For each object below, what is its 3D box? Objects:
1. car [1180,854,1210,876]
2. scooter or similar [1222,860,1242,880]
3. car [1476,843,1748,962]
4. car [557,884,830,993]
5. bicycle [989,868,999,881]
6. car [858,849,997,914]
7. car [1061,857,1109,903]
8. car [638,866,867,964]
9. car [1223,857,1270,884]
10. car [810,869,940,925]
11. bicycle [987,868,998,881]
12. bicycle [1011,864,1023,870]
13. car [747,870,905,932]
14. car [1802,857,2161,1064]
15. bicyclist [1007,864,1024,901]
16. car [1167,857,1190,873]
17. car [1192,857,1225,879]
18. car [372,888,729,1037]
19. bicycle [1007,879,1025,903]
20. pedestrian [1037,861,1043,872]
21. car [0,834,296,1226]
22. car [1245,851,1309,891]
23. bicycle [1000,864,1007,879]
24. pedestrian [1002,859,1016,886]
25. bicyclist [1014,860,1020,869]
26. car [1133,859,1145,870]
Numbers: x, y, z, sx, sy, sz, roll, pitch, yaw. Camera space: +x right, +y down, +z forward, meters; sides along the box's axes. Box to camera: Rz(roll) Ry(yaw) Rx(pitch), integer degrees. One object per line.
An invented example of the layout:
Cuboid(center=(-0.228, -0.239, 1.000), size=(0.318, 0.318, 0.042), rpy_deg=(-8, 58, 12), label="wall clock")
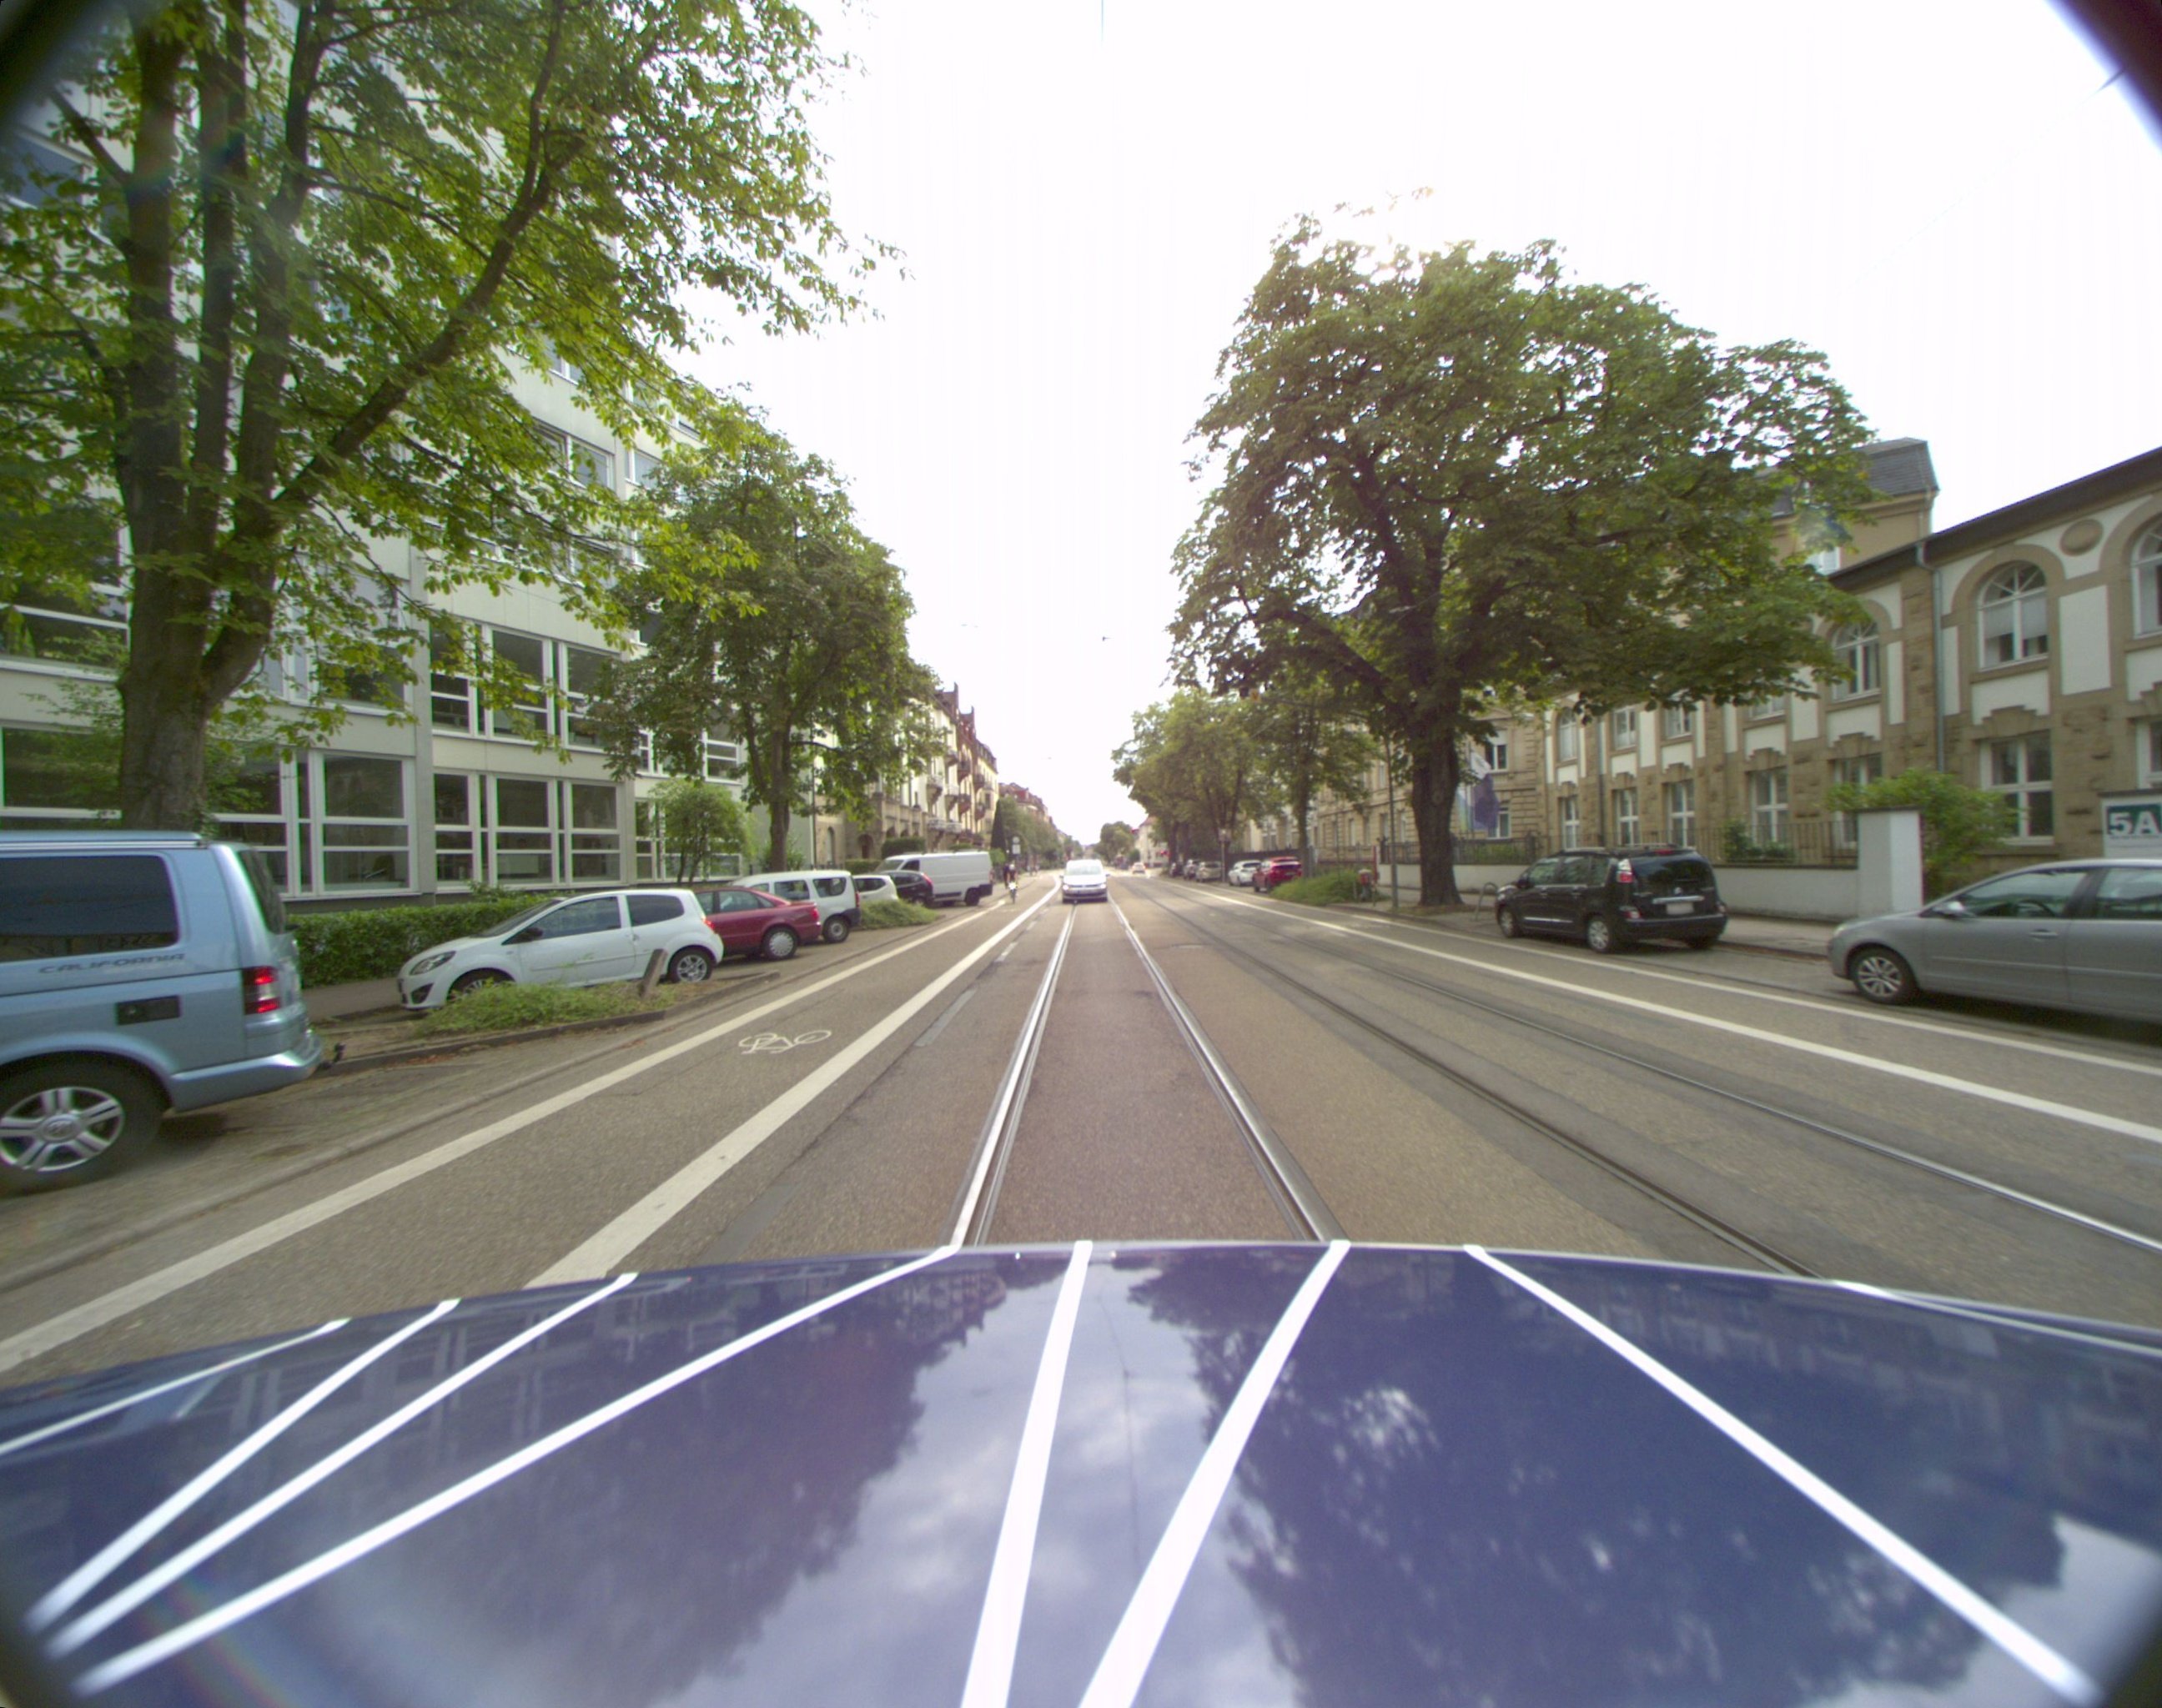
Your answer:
Cuboid(center=(9.322, 0.892, 62.397), size=(1.714, 1.664, 4.357), rpy_deg=(-2, 0, 0), label="car")
Cuboid(center=(9.488, 1.006, 47.675), size=(0.563, 1.215, 1.321), rpy_deg=(-2, 0, -23), label="scooter or similar")
Cuboid(center=(8.731, 0.701, 13.011), size=(1.760, 1.637, 4.052), rpy_deg=(-3, 0, 0), label="car")
Cuboid(center=(-6.786, 1.360, 13.539), size=(3.983, 1.424, 1.685), rpy_deg=(-3, 0, -42), label="car")
Cuboid(center=(-6.396, 1.485, 55.895), size=(0.487, 0.902, 1.665), rpy_deg=(-1, 1, 1), label="bicycle")
Cuboid(center=(-6.173, 1.045, 30.931), size=(4.968, 2.277, 2.378), rpy_deg=(-3, 0, -42), label="car")
Cuboid(center=(0.219, 1.015, 31.492), size=(1.767, 1.660, 4.330), rpy_deg=(-3, 0, 1), label="car")
Cuboid(center=(-6.936, 1.192, 16.331), size=(4.117, 1.658, 1.685), rpy_deg=(-3, 0, -45), label="car")
Cuboid(center=(9.622, 0.919, 44.463), size=(1.726, 1.415, 4.023), rpy_deg=(-4, 0, 0), label="car")
Cuboid(center=(-7.108, 1.436, 26.474), size=(3.968, 1.639, 1.685), rpy_deg=(-3, 0, -44), label="car")
Cuboid(center=(-6.317, 1.468, 54.108), size=(0.487, 0.902, 1.665), rpy_deg=(-1, 1, 4), label="bicycle")
Cuboid(center=(-10.625, 2.134, 126.066), size=(2.194, 1.019, 0.616), rpy_deg=(-2, 0, 38), label="bicycle")
Cuboid(center=(-7.554, 1.339, 22.740), size=(4.100, 1.502, 1.685), rpy_deg=(-3, 0, -44), label="car")
Cuboid(center=(8.661, 0.774, 6.268), size=(1.697, 1.419, 3.868), rpy_deg=(-3, 0, 0), label="car")
Cuboid(center=(-2.817, 1.208, 32.922), size=(0.640, 1.561, 1.110), rpy_deg=(-1, 0, -2), label="bicyclist")
Cuboid(center=(9.479, 1.052, 74.220), size=(1.724, 1.416, 4.166), rpy_deg=(-4, 0, 2), label="car")
Cuboid(center=(9.135, 0.957, 54.722), size=(1.604, 1.459, 4.079), rpy_deg=(-2, 0, 0), label="car")
Cuboid(center=(-7.076, 1.299, 10.370), size=(3.723, 1.424, 1.685), rpy_deg=(-3, 0, -44), label="car")
Cuboid(center=(-2.817, 1.587, 32.996), size=(0.640, 0.975, 2.071), rpy_deg=(-1, 0, -2), label="bicycle")
Cuboid(center=(-6.022, 1.840, 111.545), size=(0.721, 1.650, 0.759), rpy_deg=(2, 0, -3), label="pedestrian")
Cuboid(center=(-7.041, 0.968, 3.750), size=(4.284, 2.003, 1.826), rpy_deg=(-3, 0, -44), label="car")
Cuboid(center=(9.135, 0.742, 35.831), size=(1.726, 1.645, 4.542), rpy_deg=(-4, 0, 0), label="car")
Cuboid(center=(-6.303, 1.418, 61.923), size=(0.392, 1.135, 1.921), rpy_deg=(0, 0, 1), label="bicycle")
Cuboid(center=(-4.667, 1.221, 49.175), size=(0.787, 1.722, 0.896), rpy_deg=(1, 0, 0), label="pedestrian")
Cuboid(center=(-10.657, 1.737, 126.085), size=(0.772, 1.357, 0.616), rpy_deg=(-2, 0, 38), label="bicyclist")
Cuboid(center=(7.728, 1.442, 102.160), size=(1.574, 1.407, 4.001), rpy_deg=(0, 0, 4), label="car")
